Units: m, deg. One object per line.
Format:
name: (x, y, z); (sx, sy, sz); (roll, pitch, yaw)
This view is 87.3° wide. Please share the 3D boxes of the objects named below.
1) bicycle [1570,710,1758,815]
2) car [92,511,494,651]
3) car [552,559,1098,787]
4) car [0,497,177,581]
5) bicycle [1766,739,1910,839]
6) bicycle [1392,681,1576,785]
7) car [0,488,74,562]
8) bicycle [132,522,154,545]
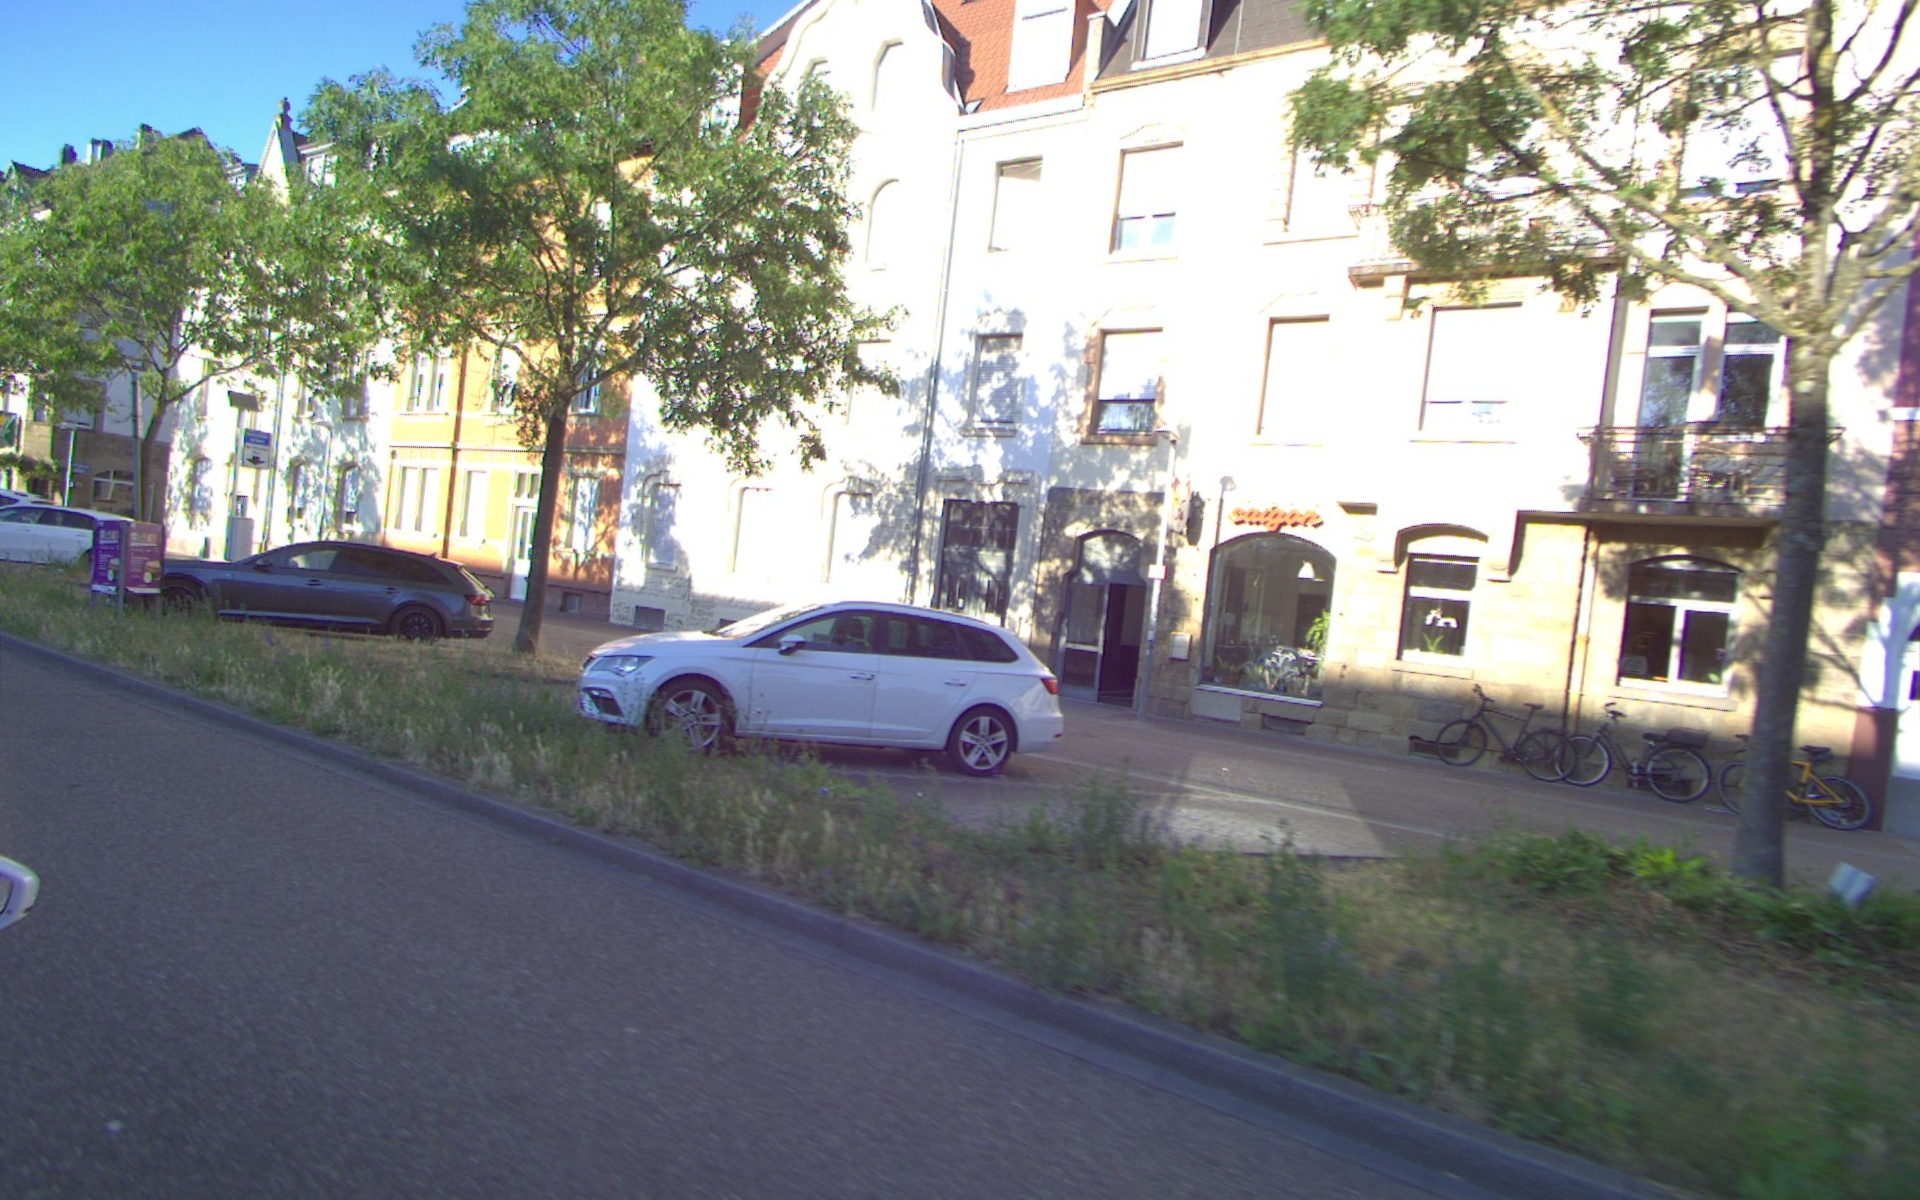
bicycle: (9.218, 2.105, 13.272); (1.896, 1.003, 0.579); (7, 1, 32)
car: (-9.304, -0.227, 14.586); (4.526, 1.364, 1.884); (7, 0, -26)
car: (-1.234, 0.684, 9.313); (4.584, 1.528, 1.837); (7, 0, -23)
car: (-19.907, -1.409, 21.564); (4.501, 1.416, 2.017); (7, -1, -28)
bicycle: (10.834, 2.315, 12.458); (1.198, 0.973, 0.418); (7, 1, 32)
bicycle: (7.454, 1.854, 14.374); (2.191, 1.093, 0.588); (7, 2, 32)
car: (-24.938, -2.073, 24.619); (4.375, 1.712, 1.905); (7, 0, -23)
bicycle: (-40.291, -3.280, 49.608); (0.626, 0.959, 1.861); (7, 1, -43)
